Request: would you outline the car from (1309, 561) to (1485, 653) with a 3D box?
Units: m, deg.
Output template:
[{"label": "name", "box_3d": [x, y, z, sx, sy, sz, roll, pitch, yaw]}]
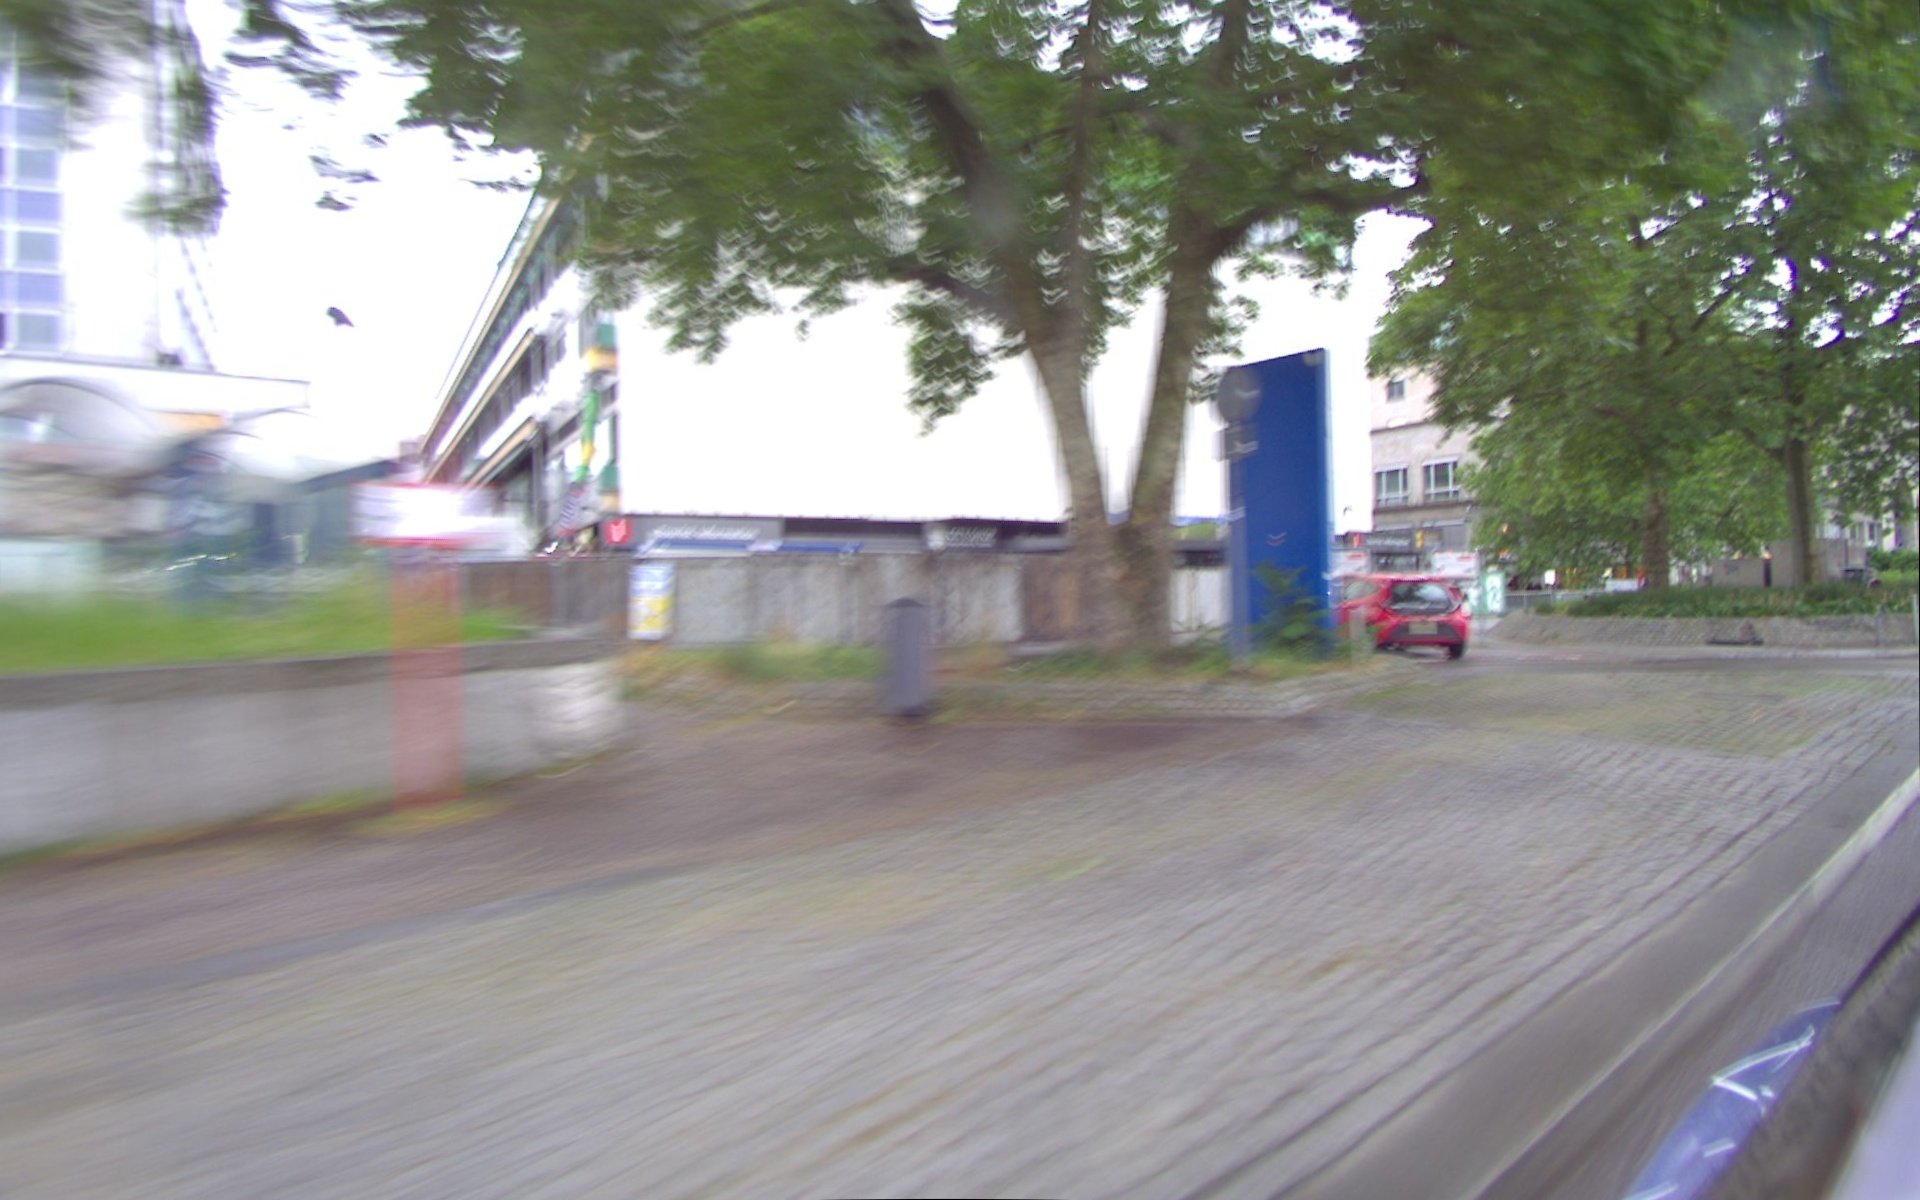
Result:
[{"label": "car", "box_3d": [8.017, 0.063, 18.975, 1.670, 1.473, 3.998, -2, 1, 3]}]
